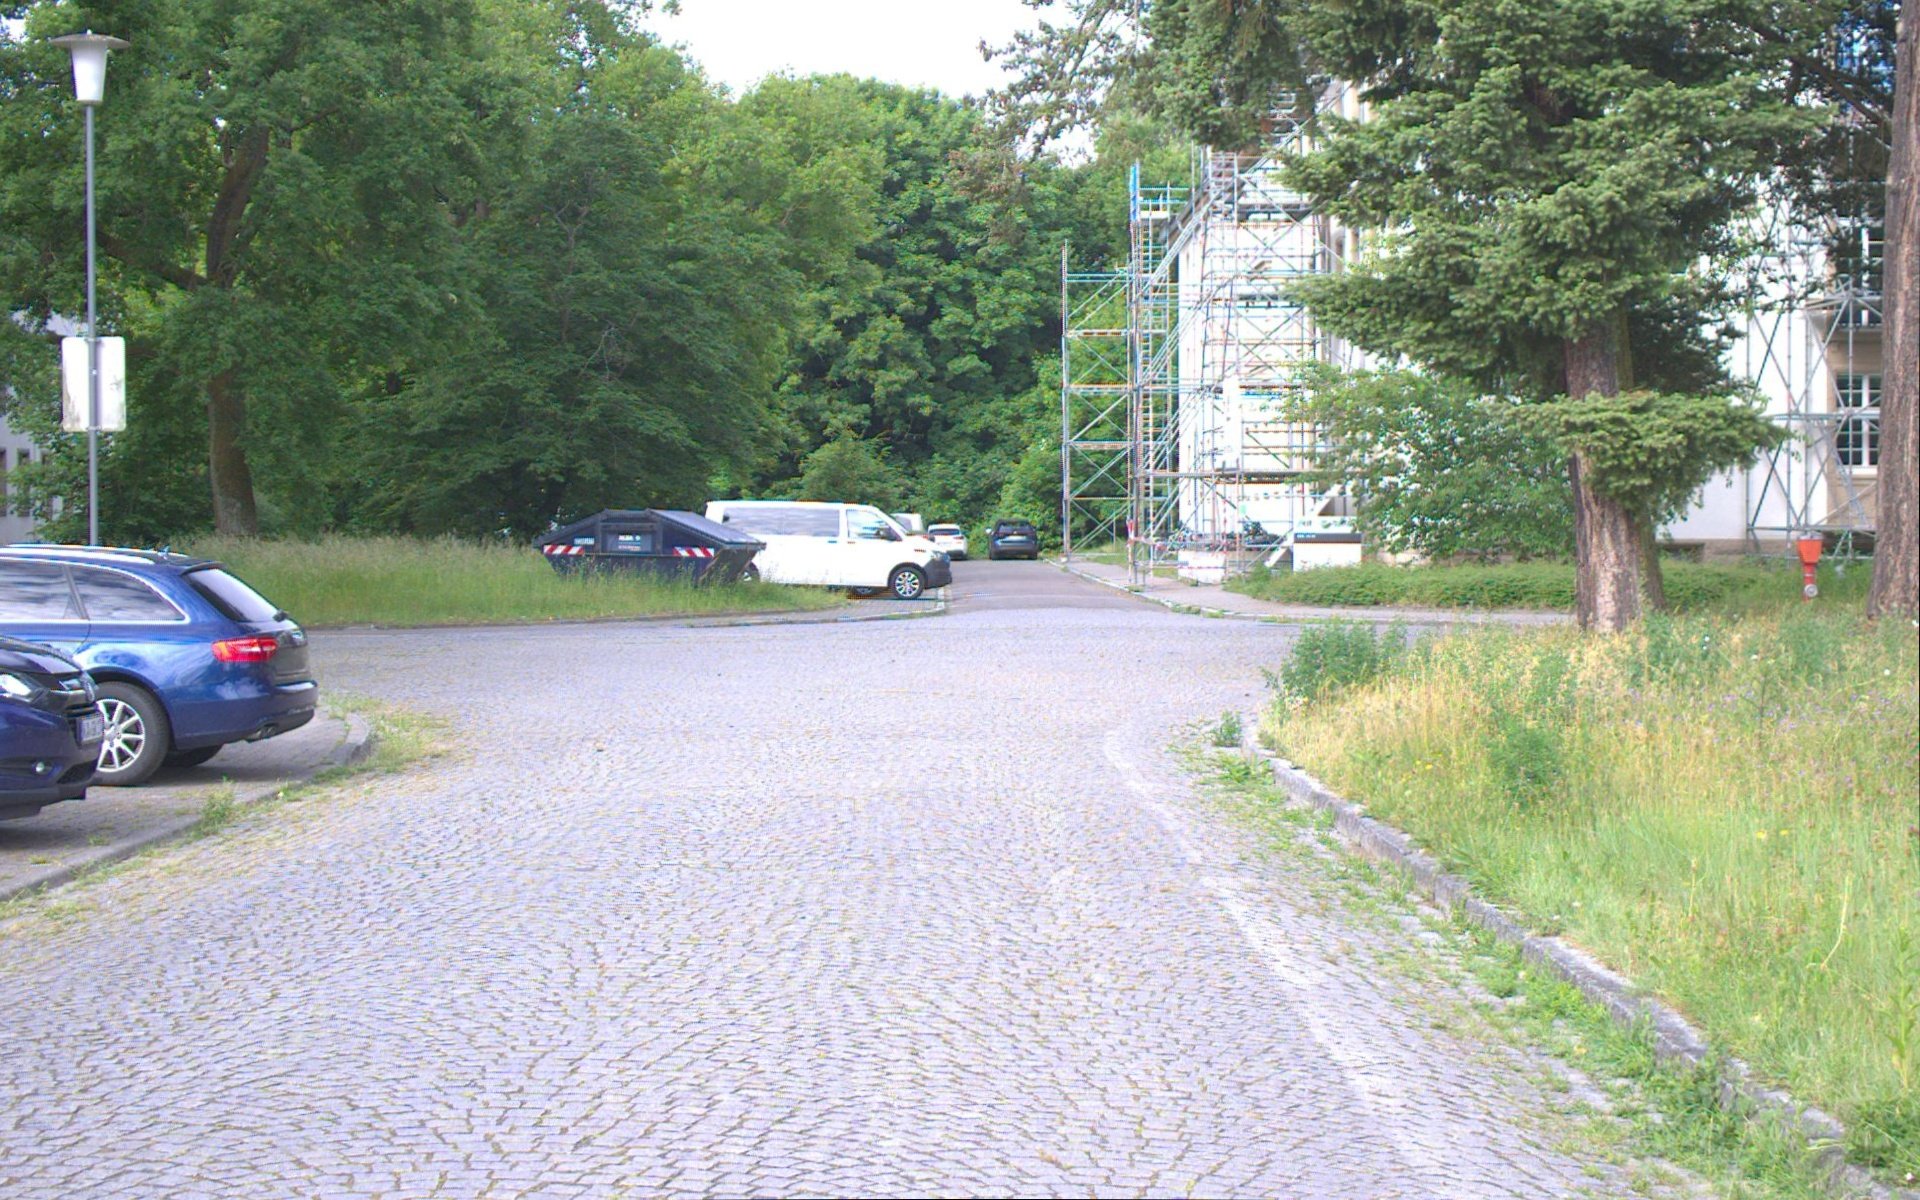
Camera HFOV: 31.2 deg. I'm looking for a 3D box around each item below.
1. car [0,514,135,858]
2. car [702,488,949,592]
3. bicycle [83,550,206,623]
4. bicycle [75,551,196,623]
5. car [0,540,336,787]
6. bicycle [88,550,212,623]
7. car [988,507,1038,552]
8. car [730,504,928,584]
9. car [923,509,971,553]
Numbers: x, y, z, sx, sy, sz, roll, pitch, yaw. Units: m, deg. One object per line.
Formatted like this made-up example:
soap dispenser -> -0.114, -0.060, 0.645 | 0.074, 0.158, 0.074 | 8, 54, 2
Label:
car -> -6.311, 0.381, 16.974 | 4.071, 1.598, 1.788 | 0, 2, -2
car -> -2.754, -1.217, 70.619 | 4.978, 2.065, 2.052 | 1, 0, -1
bicycle -> -12.038, -0.198, 50.746 | 1.701, 1.050, 0.574 | -1, 0, -20
bicycle -> -12.382, -0.195, 51.641 | 1.701, 1.050, 0.574 | -1, 0, -20
car -> -6.139, 0.365, 21.672 | 4.072, 1.462, 1.626 | 0, 2, 4
bicycle -> -11.822, -0.200, 50.183 | 1.701, 1.050, 0.574 | -1, 0, -20
car -> 2.105, -2.804, 136.967 | 1.790, 1.714, 4.061 | -1, 0, -2
car -> -3.343, -1.419, 88.038 | 4.978, 1.961, 2.052 | 1, 0, -1
car -> -0.517, -2.736, 136.651 | 1.790, 1.630, 4.061 | -1, 0, -2
